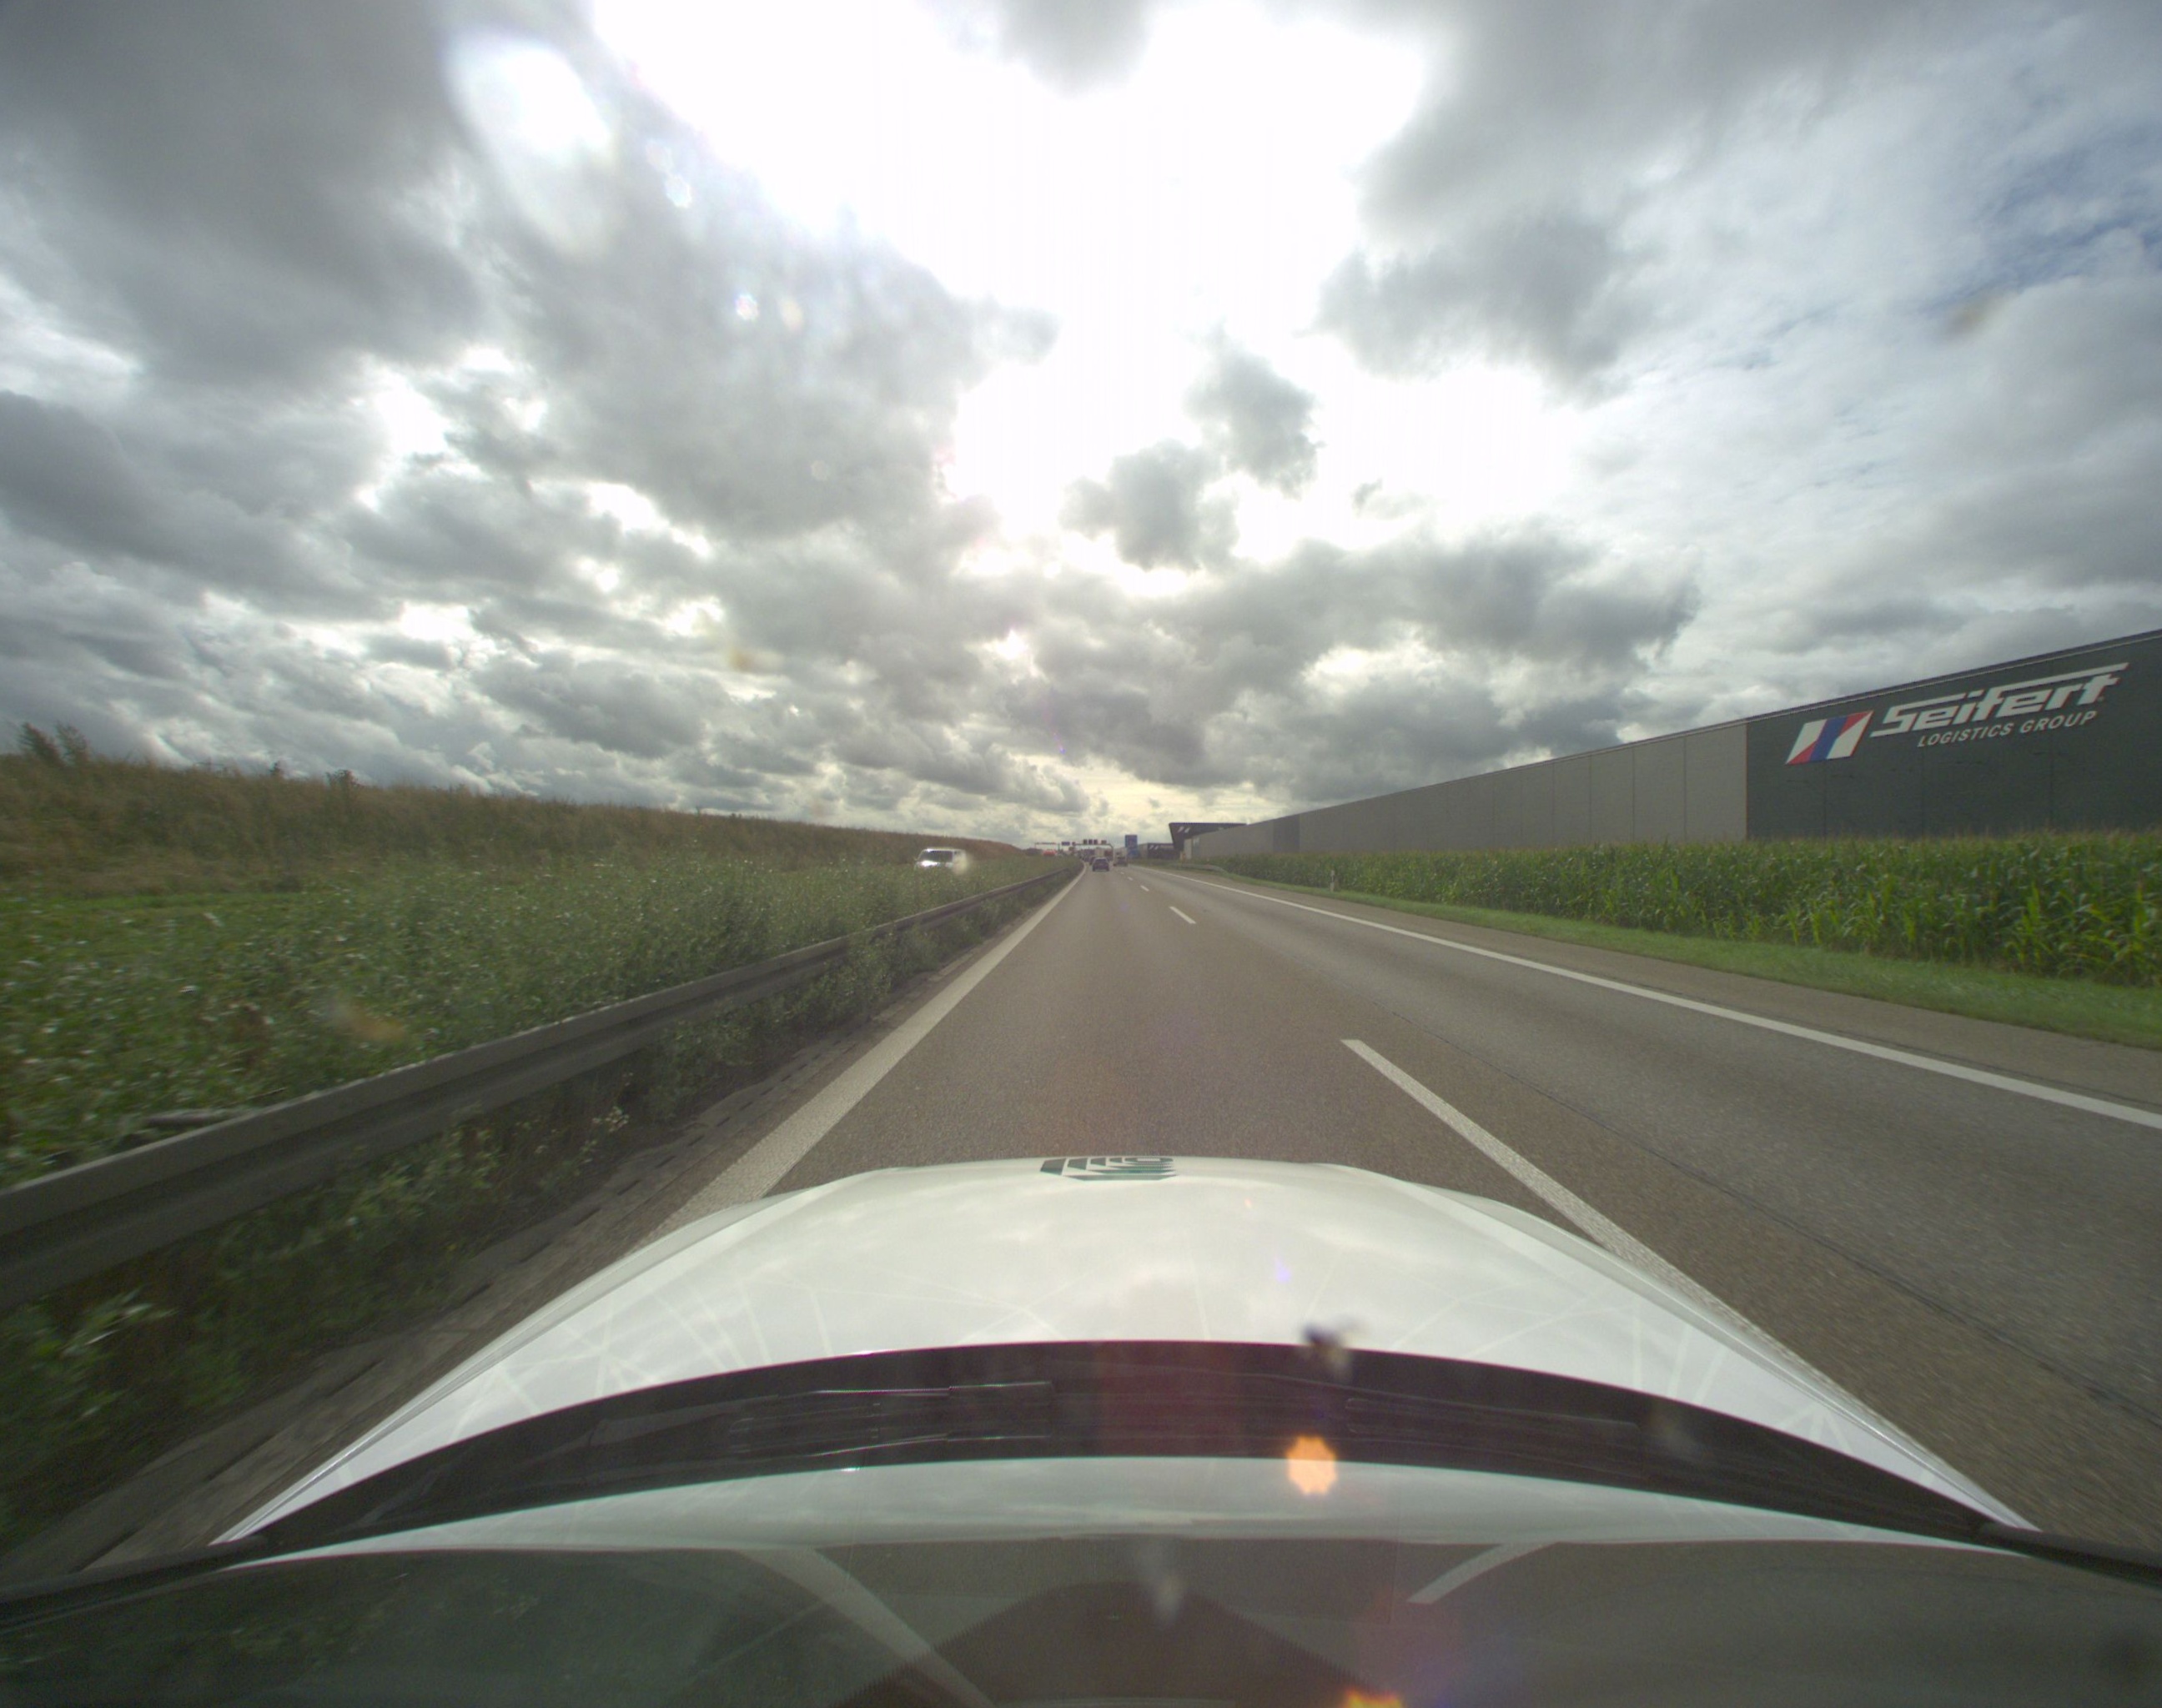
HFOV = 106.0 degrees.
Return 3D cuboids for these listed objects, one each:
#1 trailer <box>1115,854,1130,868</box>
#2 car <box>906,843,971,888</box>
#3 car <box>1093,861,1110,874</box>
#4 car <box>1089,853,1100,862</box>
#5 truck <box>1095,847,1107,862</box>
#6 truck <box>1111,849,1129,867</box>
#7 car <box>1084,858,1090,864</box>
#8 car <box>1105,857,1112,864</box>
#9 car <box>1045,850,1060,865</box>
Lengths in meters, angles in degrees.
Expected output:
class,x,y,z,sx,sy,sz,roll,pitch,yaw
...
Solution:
class,x,y,z,sx,sy,sz,roll,pitch,yaw
trailer,6.514,1.147,128.448,2.330,2.136,4.000,0,-1,0
car,-6.726,0.541,39.126,1.986,2.014,5.533,0,-1,2
car,2.180,1.451,88.024,1.740,1.453,4.000,0,-1,1
car,2.440,0.685,149.072,1.939,1.685,4.000,0,-1,1
truck,6.233,0.154,255.081,3.330,4.534,8.011,0,-1,-2
truck,6.453,0.625,135.351,2.475,2.950,5.811,0,-1,-2
car,1.693,1.929,231.702,1.937,1.775,3.695,0,-1,0
car,6.991,1.529,207.330,1.795,1.684,4.000,-1,0,0
car,-4.705,0.574,133.195,2.116,2.267,5.454,0,-1,1
